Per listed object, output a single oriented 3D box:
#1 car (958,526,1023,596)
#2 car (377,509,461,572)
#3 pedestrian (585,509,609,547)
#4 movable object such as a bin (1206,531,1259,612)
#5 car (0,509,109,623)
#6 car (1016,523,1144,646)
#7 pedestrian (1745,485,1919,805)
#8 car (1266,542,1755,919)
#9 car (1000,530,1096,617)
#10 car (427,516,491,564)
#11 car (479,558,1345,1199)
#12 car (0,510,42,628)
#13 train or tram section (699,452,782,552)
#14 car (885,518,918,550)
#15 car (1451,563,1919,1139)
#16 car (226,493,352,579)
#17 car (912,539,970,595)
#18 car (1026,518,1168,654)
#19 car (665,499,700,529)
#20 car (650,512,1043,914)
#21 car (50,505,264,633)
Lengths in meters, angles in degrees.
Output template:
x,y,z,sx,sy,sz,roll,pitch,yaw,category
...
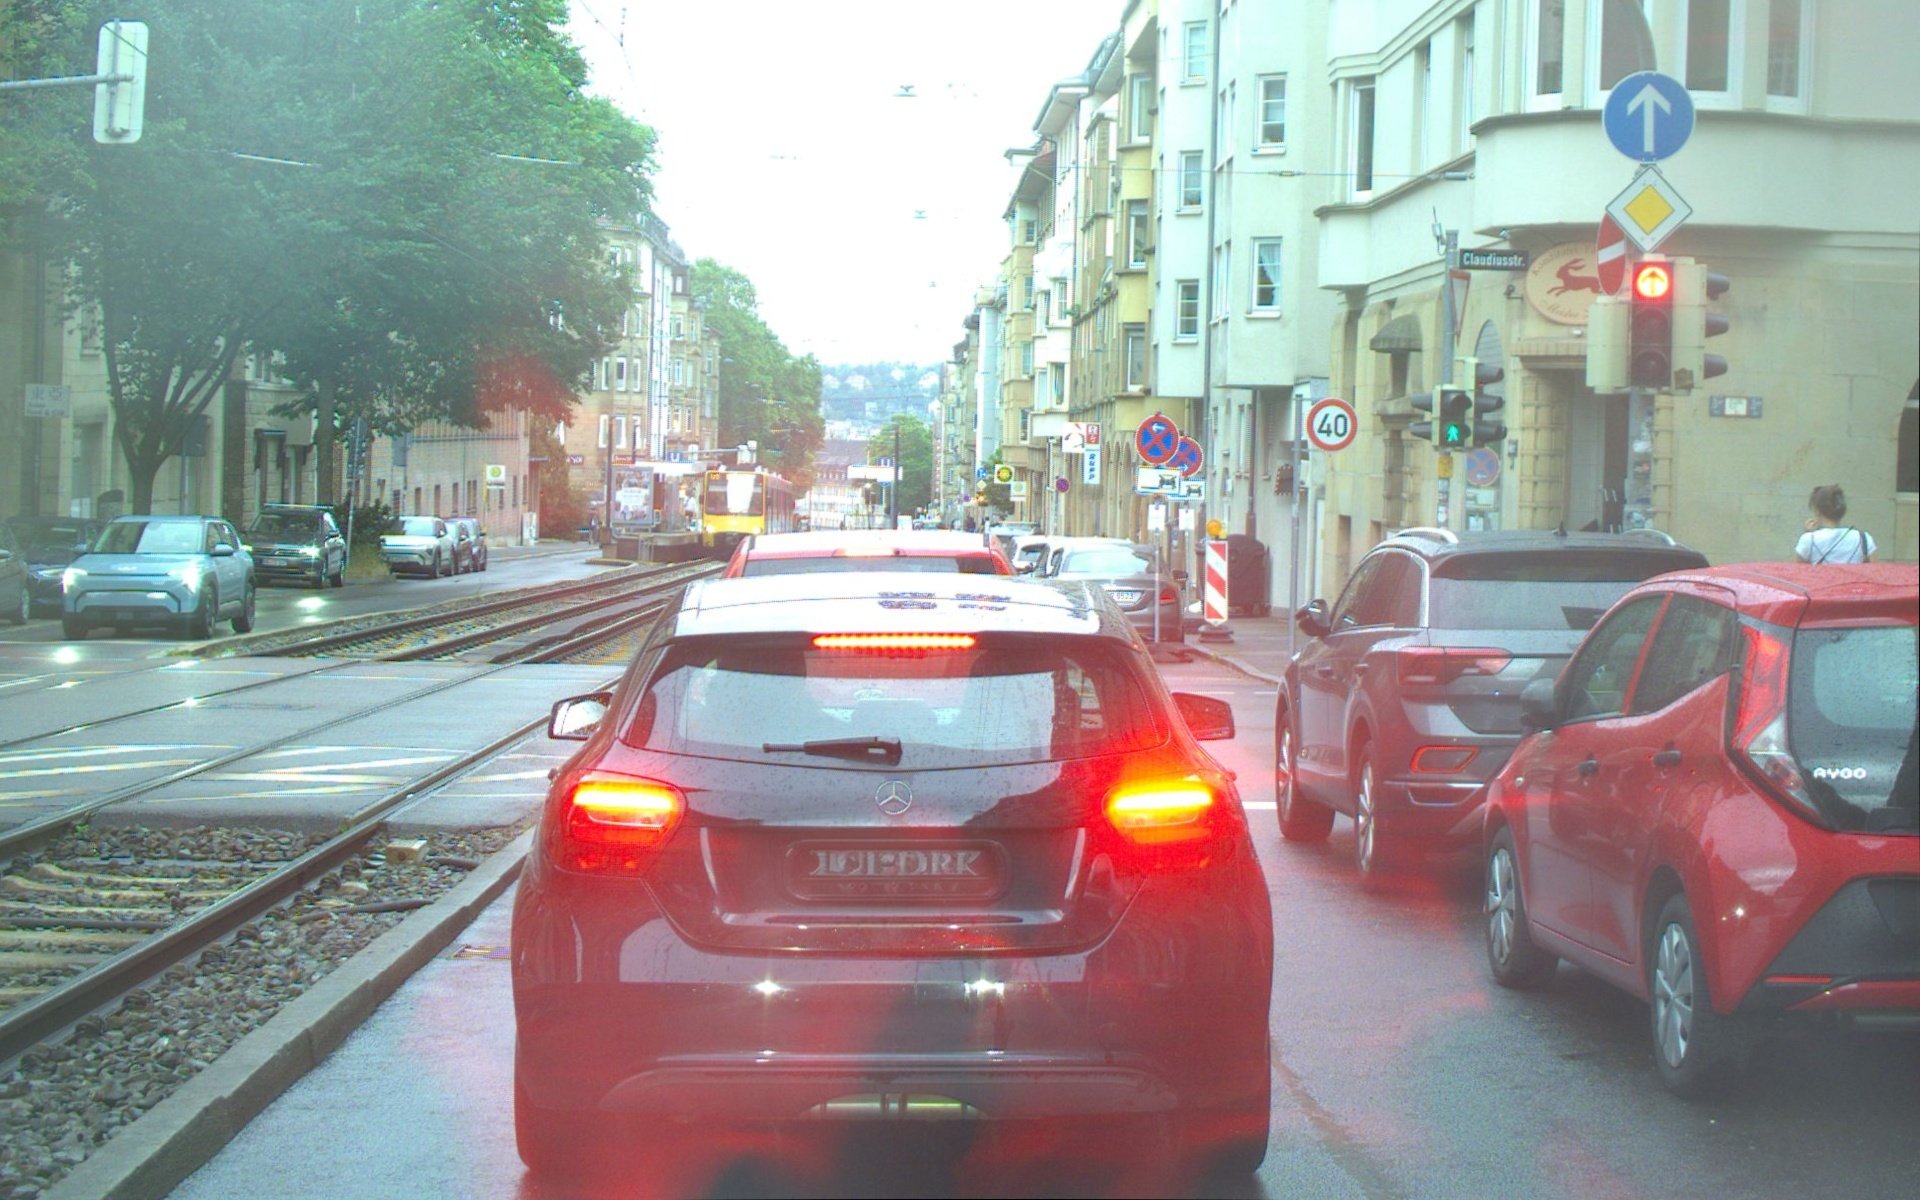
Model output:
x,y,z,sx,sy,sz,roll,pitch,yaw,category
0.633,-0.846,73.556,1.294,1.437,2.929,1,1,-1,car
-13.996,-1.529,89.127,1.589,1.575,3.918,1,0,-1,car
-18.903,-3.747,179.146,1.053,1.951,1.043,2,1,1,pedestrian
4.710,-0.493,59.534,0.878,1.384,0.982,1,0,3,movable object such as a bin
-13.738,-0.510,50.685,1.716,1.605,3.919,1,0,-5,car
1.609,-0.238,47.077,1.544,1.585,3.548,1,1,-1,car
4.932,0.243,19.343,0.741,1.742,1.111,1,0,-1,pedestrian
2.383,0.493,15.725,1.544,1.481,3.830,1,1,-1,car
1.551,-0.490,61.487,1.544,1.481,3.548,1,1,-1,car
-14.339,-1.715,98.537,1.448,1.326,3.272,1,0,-2,car
-0.130,0.643,9.419,1.829,1.453,4.104,1,1,-1,car
-13.486,-0.422,45.655,1.752,1.547,4.036,1,0,-4,car
-8.879,-3.927,140.038,2.783,3.847,10.430,1,0,-1,train or tram section
-3.587,-4.062,212.298,1.993,1.870,4.000,1,0,-1,car
2.646,0.636,10.487,1.642,1.443,3.299,1,1,-3,car
-13.959,-1.314,71.664,1.875,1.731,3.918,1,0,-1,car
-0.568,-1.019,104.110,1.545,1.630,3.686,1,1,2,car
1.665,-0.201,42.602,1.544,1.585,3.548,1,1,-1,car
-12.193,-3.780,151.108,1.377,1.245,3.298,1,0,-2,car
-0.483,0.441,15.806,1.565,1.604,3.814,1,0,-1,car
-10.461,-0.405,45.041,1.898,1.582,3.973,1,0,-1,car
